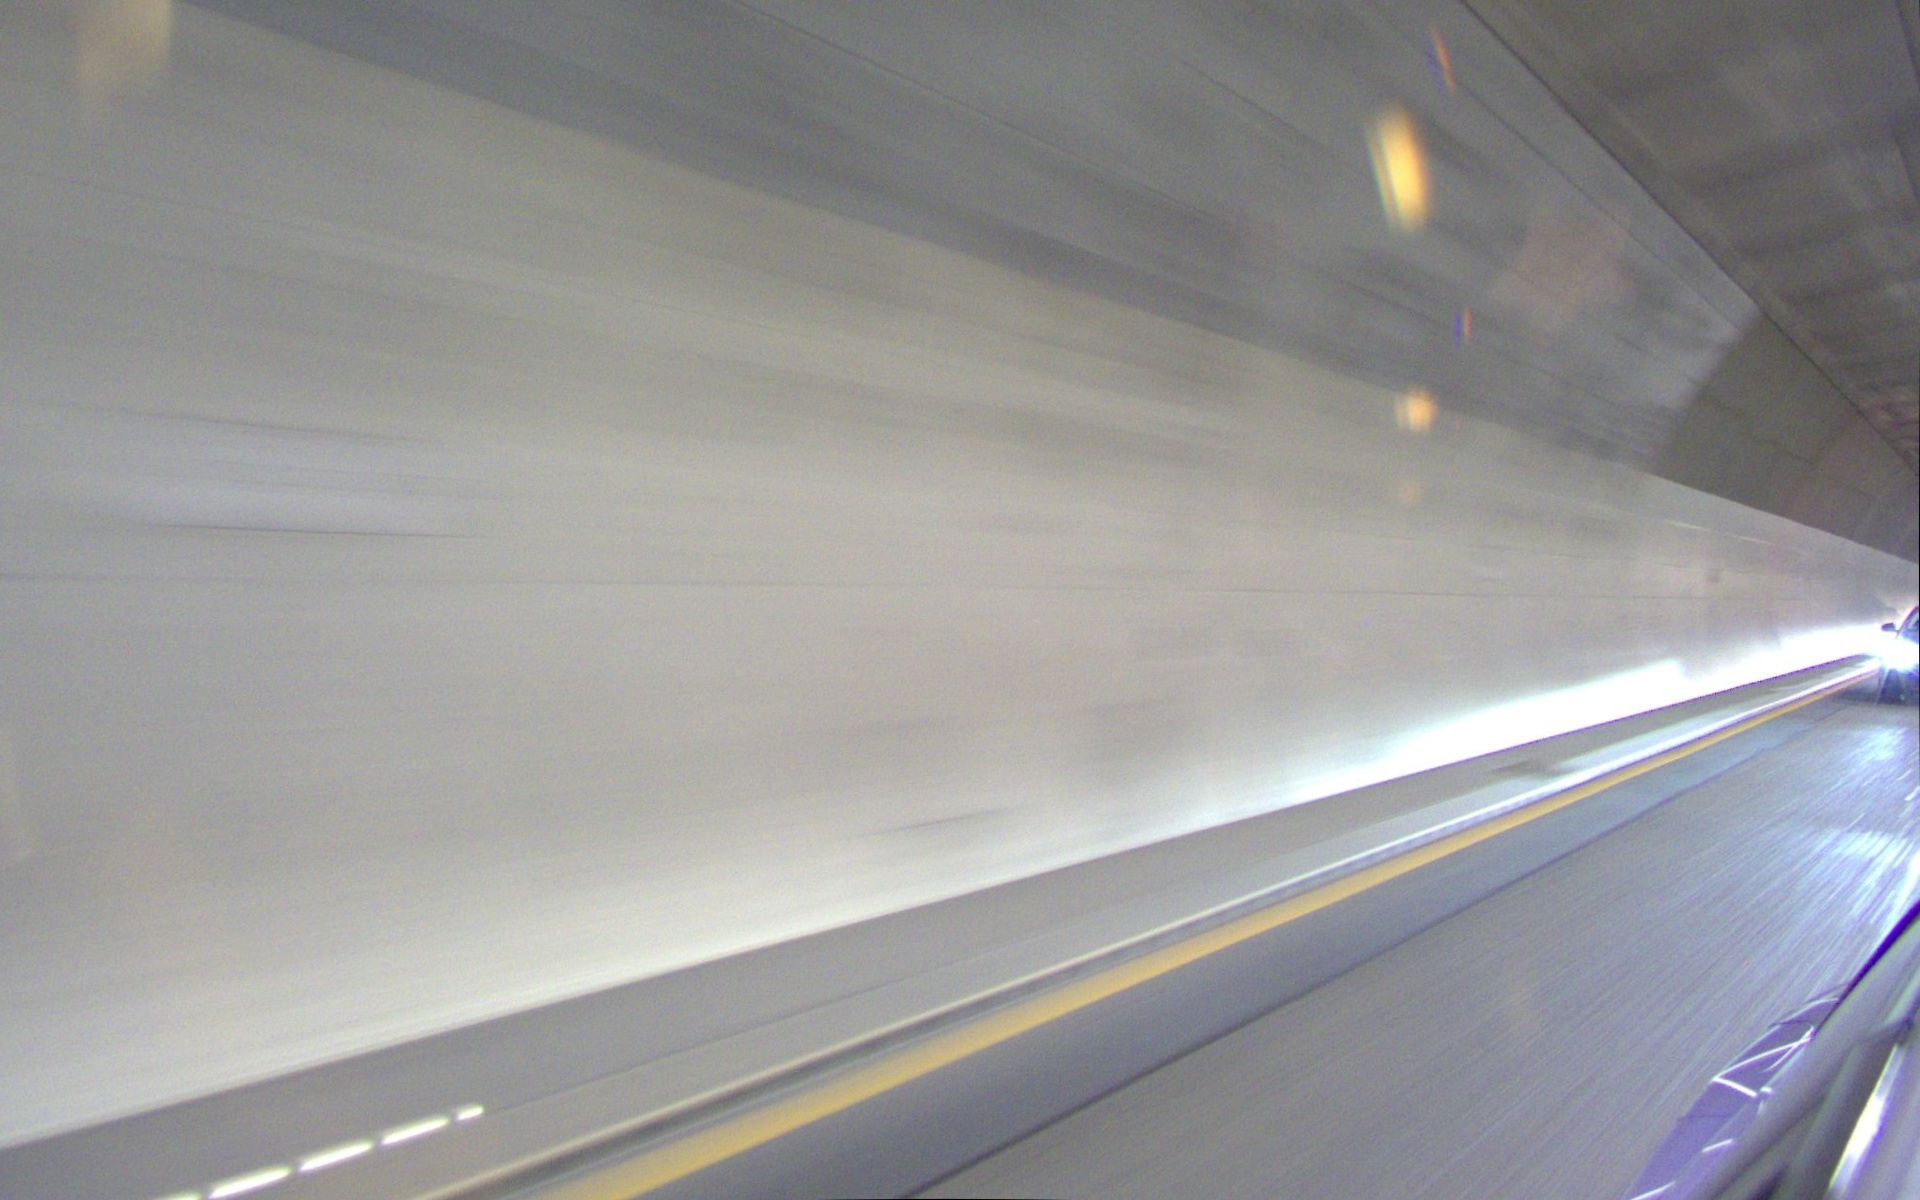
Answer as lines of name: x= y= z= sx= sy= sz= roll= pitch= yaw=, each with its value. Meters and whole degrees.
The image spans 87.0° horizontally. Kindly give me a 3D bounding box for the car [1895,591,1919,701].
car: x=15.154 y=0.633 z=14.879 sx=4.447 sy=1.496 sz=1.822 roll=0 pitch=1 yaw=-44
